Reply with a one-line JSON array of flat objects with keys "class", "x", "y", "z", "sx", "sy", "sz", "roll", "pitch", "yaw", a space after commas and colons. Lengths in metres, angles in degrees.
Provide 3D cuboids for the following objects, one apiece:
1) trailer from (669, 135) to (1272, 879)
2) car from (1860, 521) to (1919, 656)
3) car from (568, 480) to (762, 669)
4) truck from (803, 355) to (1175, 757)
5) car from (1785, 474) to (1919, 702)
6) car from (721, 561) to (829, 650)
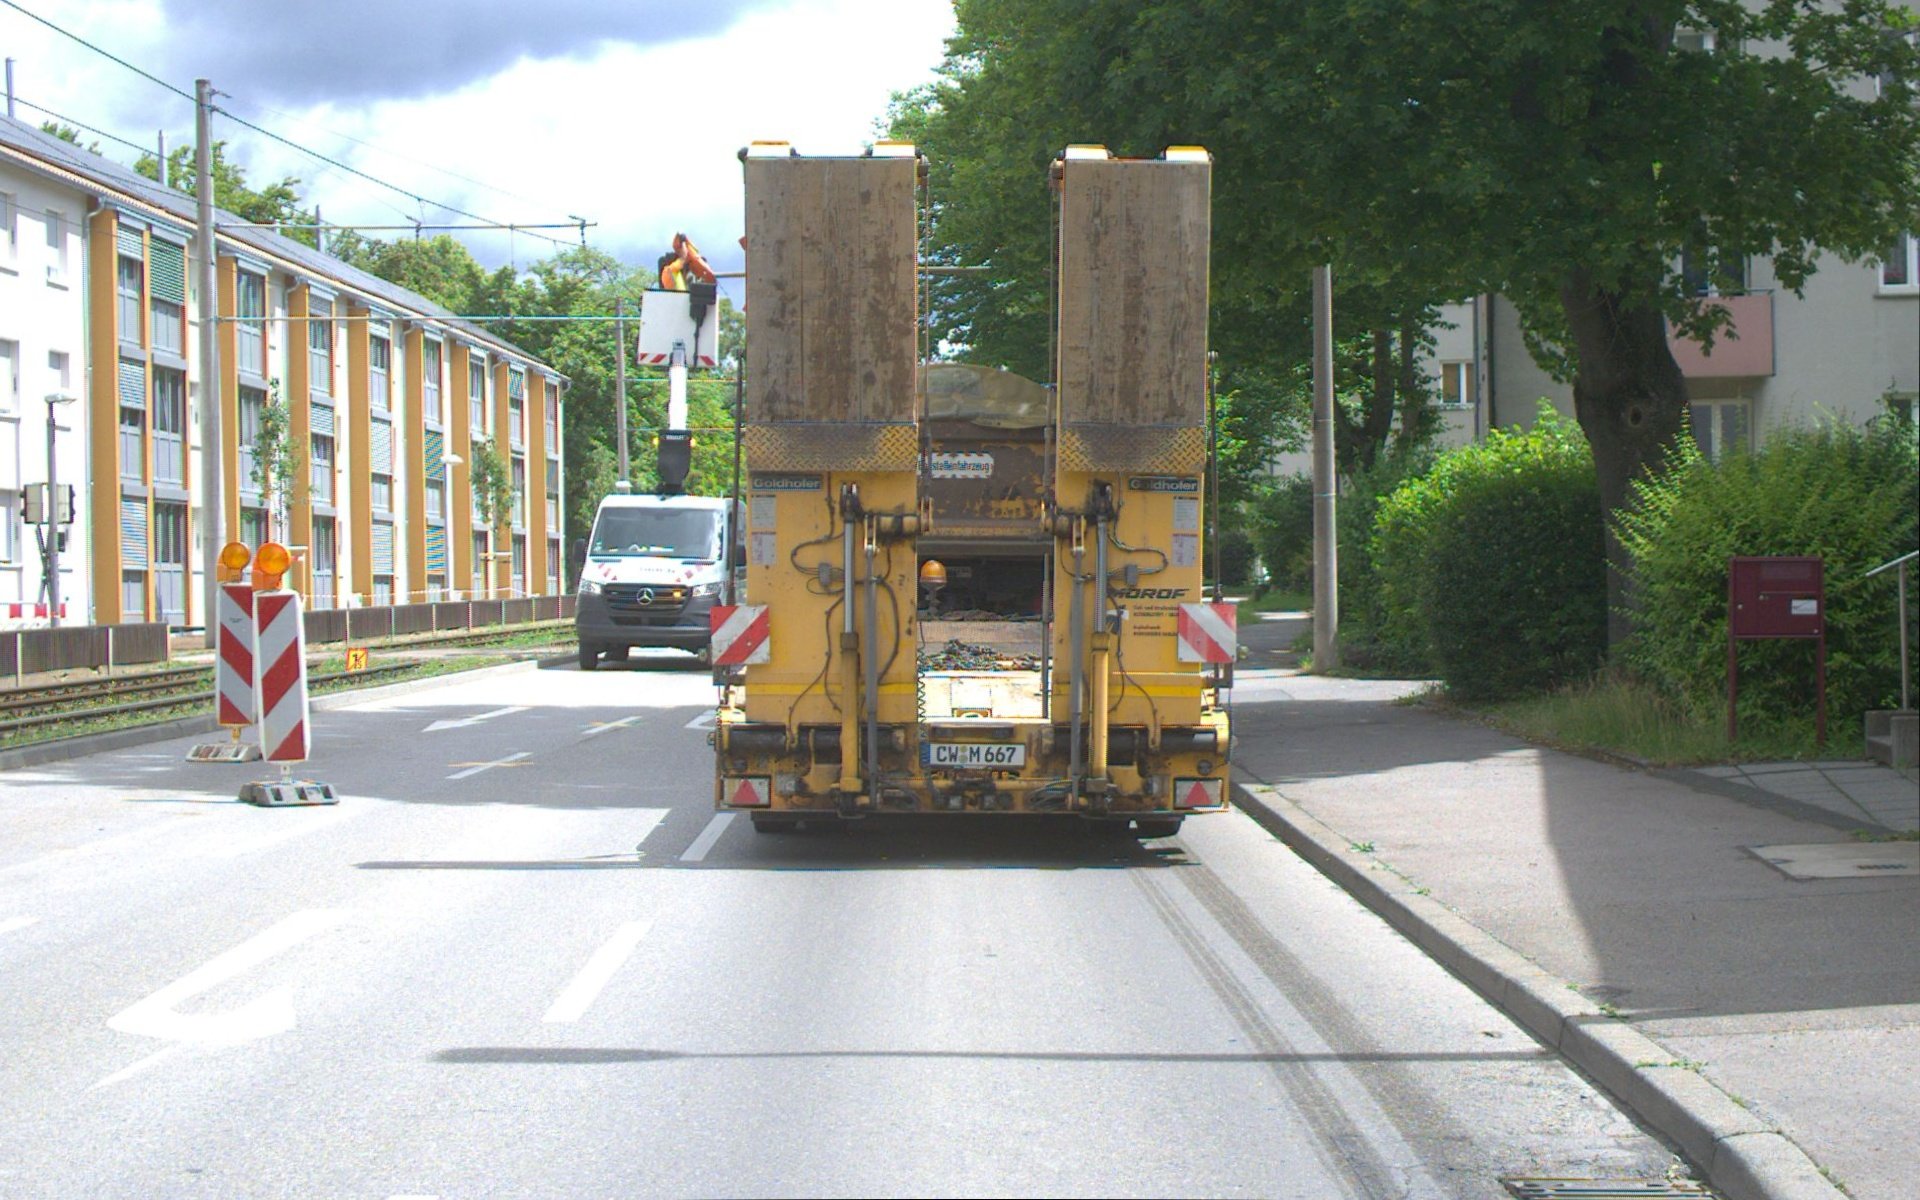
[{"class": "trailer", "x": 0.112, "y": -0.499, "z": 21.994, "sx": 2.823, "sy": 3.512, "sz": 11.052, "roll": 1, "pitch": 1, "yaw": 1}, {"class": "car", "x": 11.321, "y": -0.167, "z": 39.512, "sx": 1.664, "sy": 1.475, "sz": 3.690, "roll": -2, "pitch": 0, "yaw": 12}, {"class": "car", "x": -3.993, "y": -0.364, "z": 47.504, "sx": 1.993, "sy": 2.422, "sz": 6.322, "roll": 0, "pitch": 1, "yaw": 1}, {"class": "truck", "x": 0.291, "y": -0.391, "z": 31.349, "sx": 2.917, "sy": 3.156, "sz": 7.680, "roll": 1, "pitch": 1, "yaw": 1}, {"class": "car", "x": 7.596, "y": -0.111, "z": 26.949, "sx": 1.812, "sy": 1.644, "sz": 3.999, "roll": -2, "pitch": 0, "yaw": 9}, {"class": "car", "x": -3.346, "y": 0.078, "z": 62.725, "sx": 1.718, "sy": 1.547, "sz": 3.917, "roll": 1, "pitch": 0, "yaw": 0}]
